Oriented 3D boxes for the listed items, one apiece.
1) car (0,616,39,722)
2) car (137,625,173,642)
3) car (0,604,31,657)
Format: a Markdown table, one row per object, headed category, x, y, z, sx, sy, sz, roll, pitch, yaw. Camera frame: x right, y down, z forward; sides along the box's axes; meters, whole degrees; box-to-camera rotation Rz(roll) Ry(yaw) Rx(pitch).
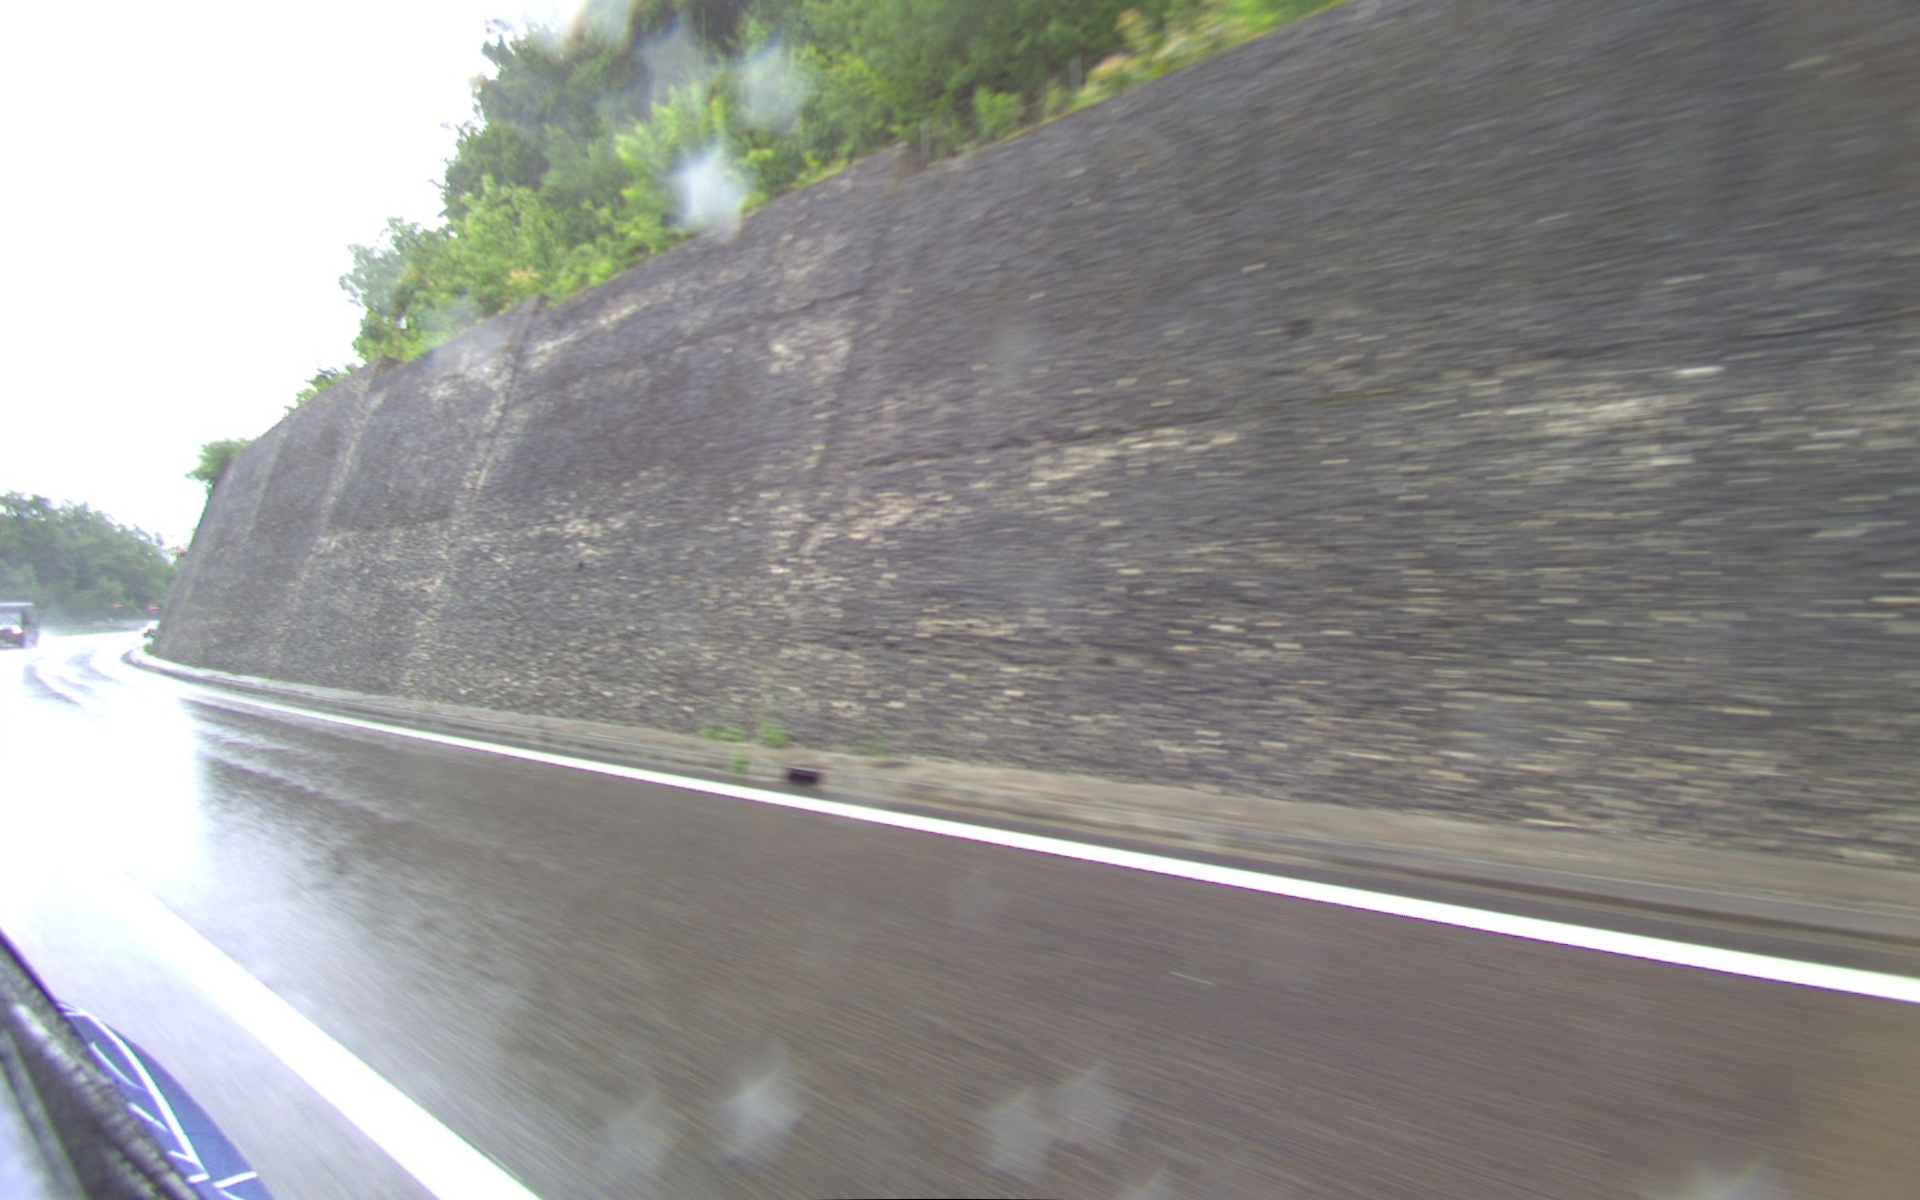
| category | x | y | z | sx | sy | sz | roll | pitch | yaw |
| --- | --- | --- | --- | --- | --- | --- | --- | --- | --- |
| car | -16.894 | 1.110 | 15.998 | 5.486 | 1.570 | 2.333 | -2 | -2 | 35 |
| car | -69.782 | 2.880 | 87.753 | 1.713 | 1.412 | 4.013 | -2 | 0 | -28 |
| car | -55.888 | 1.755 | 59.127 | 1.714 | 3.048 | 4.011 | 1 | -1 | -33 |
